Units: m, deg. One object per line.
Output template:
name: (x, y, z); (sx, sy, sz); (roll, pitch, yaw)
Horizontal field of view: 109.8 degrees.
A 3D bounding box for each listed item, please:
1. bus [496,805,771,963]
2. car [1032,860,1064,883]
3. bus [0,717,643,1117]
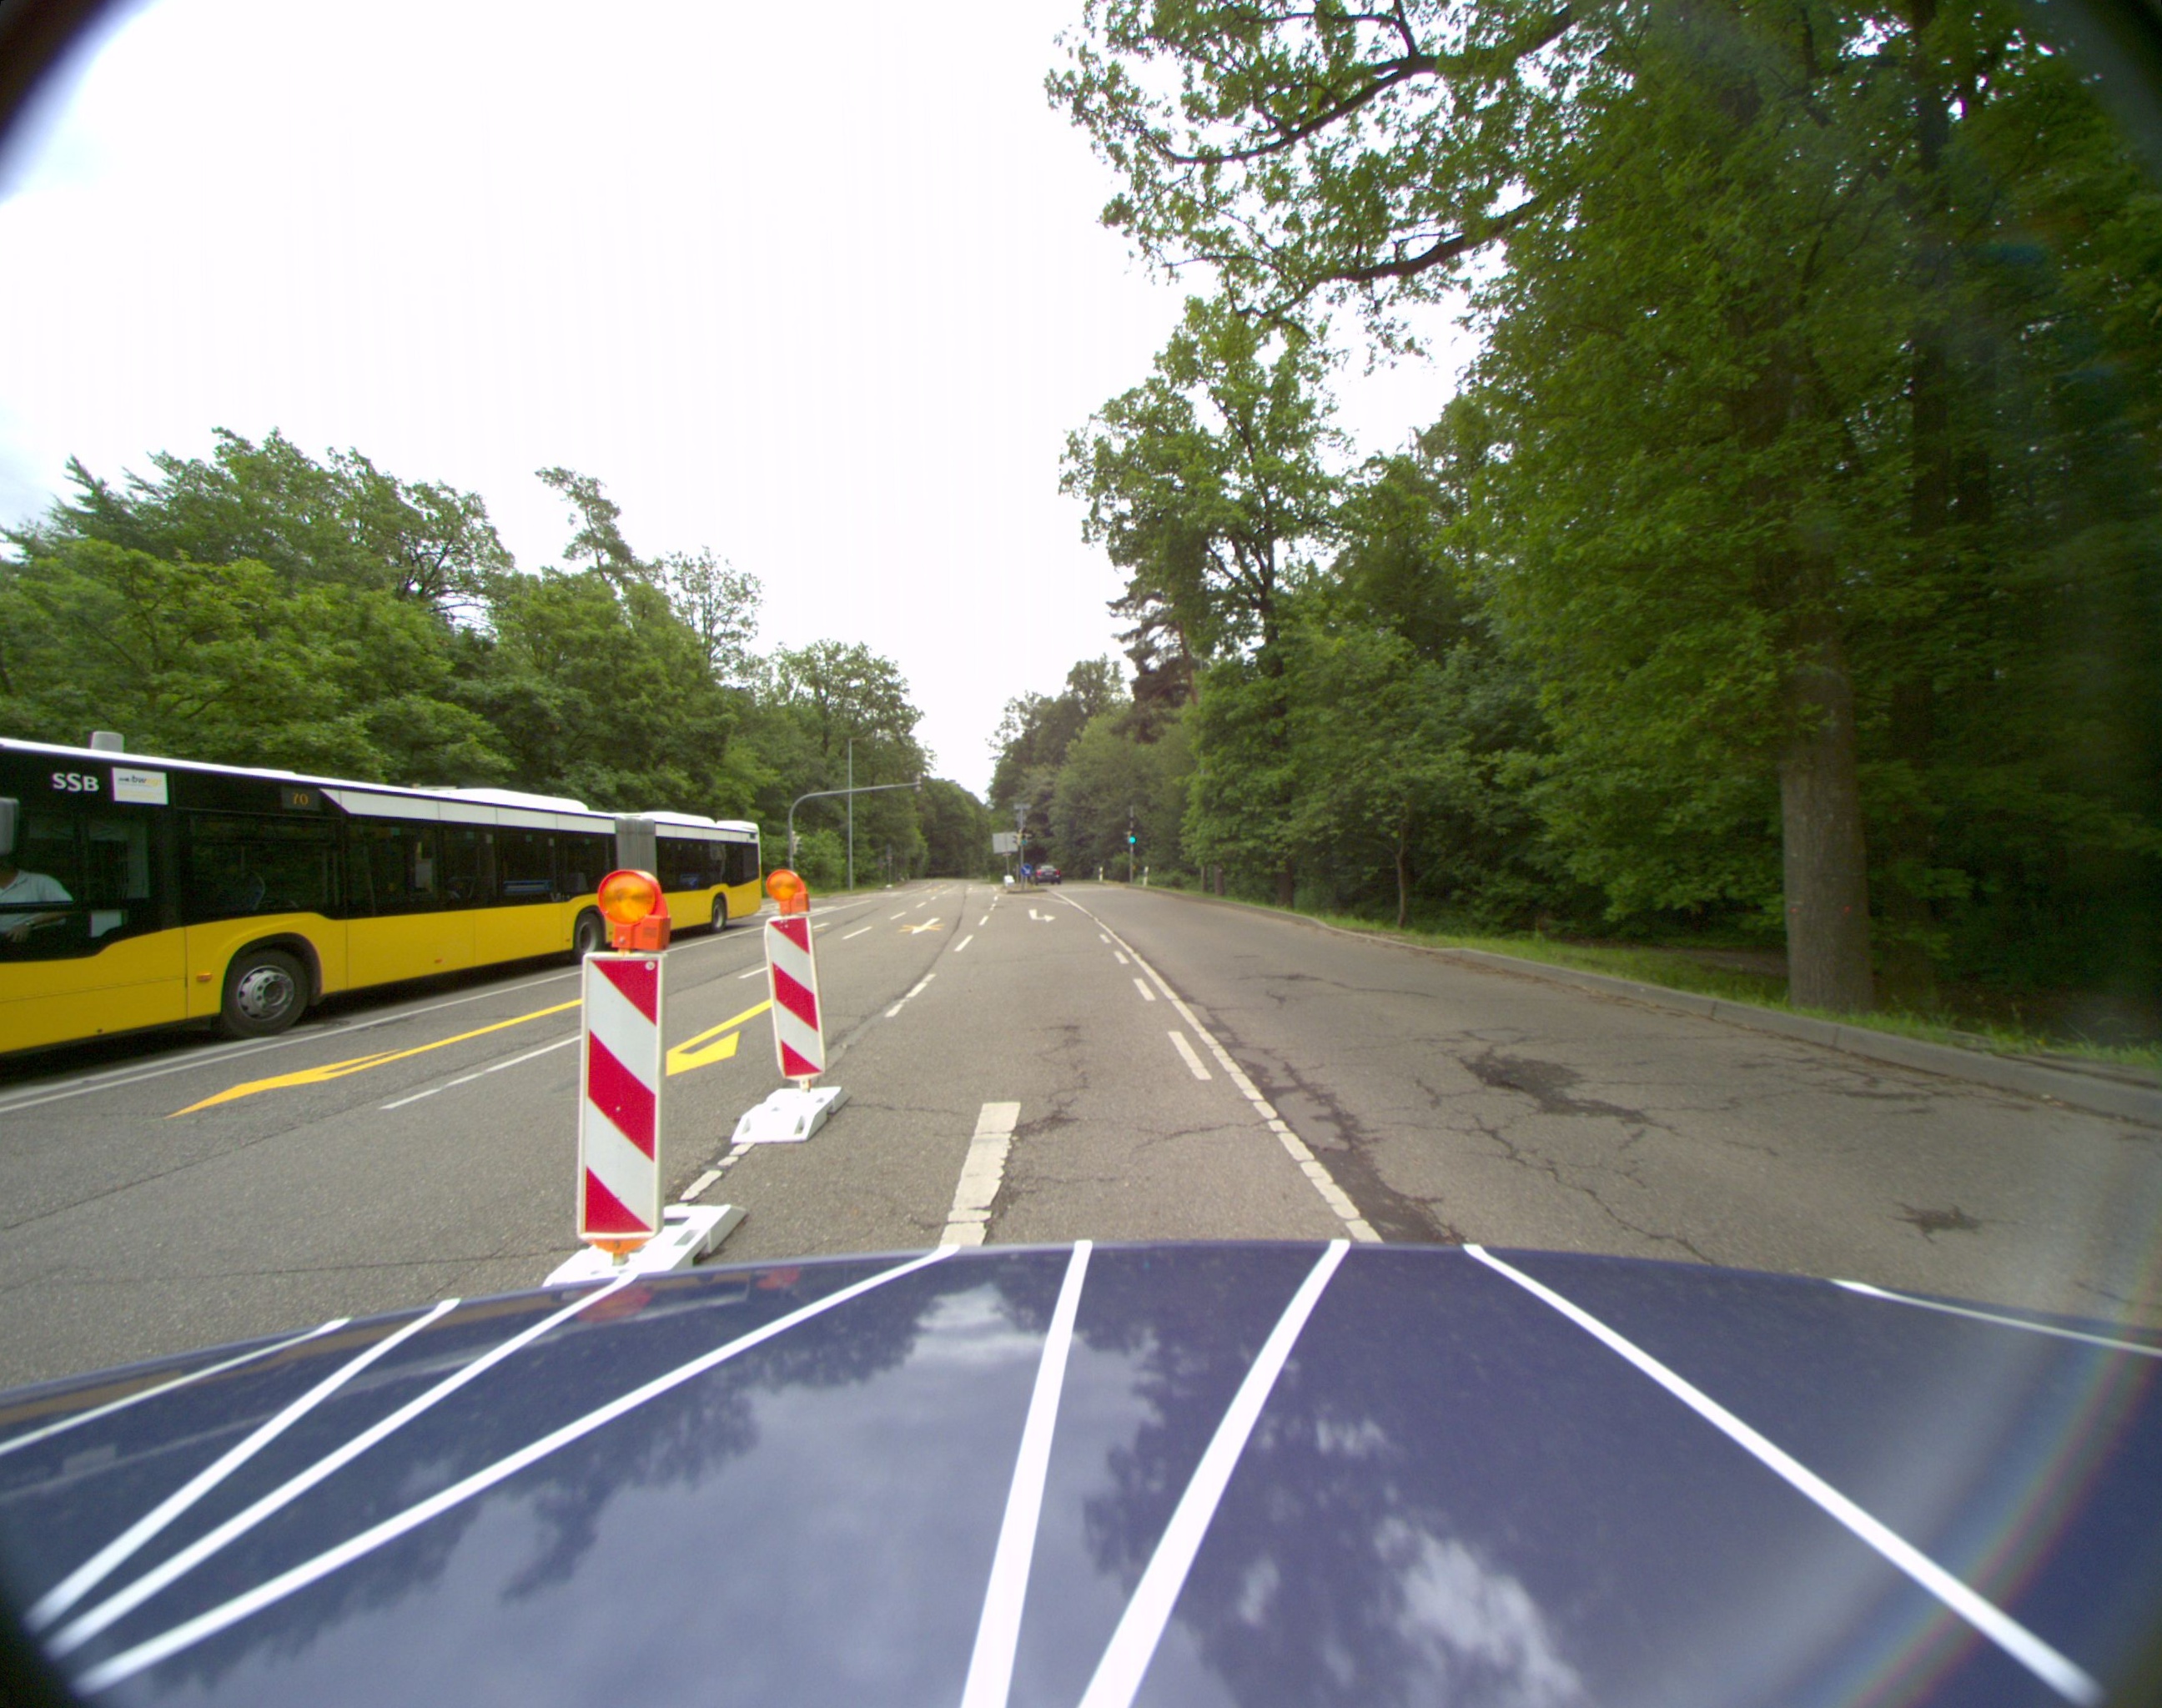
bus: (-10.737, 0.626, 19.450); (2.811, 3.140, 7.754); (-2, 0, -4)
car: (-2.256, 1.144, 51.228); (1.752, 1.322, 3.997); (-2, 1, -8)
bus: (-10.166, 0.551, 10.354); (2.811, 3.140, 10.515); (-2, 0, -4)
